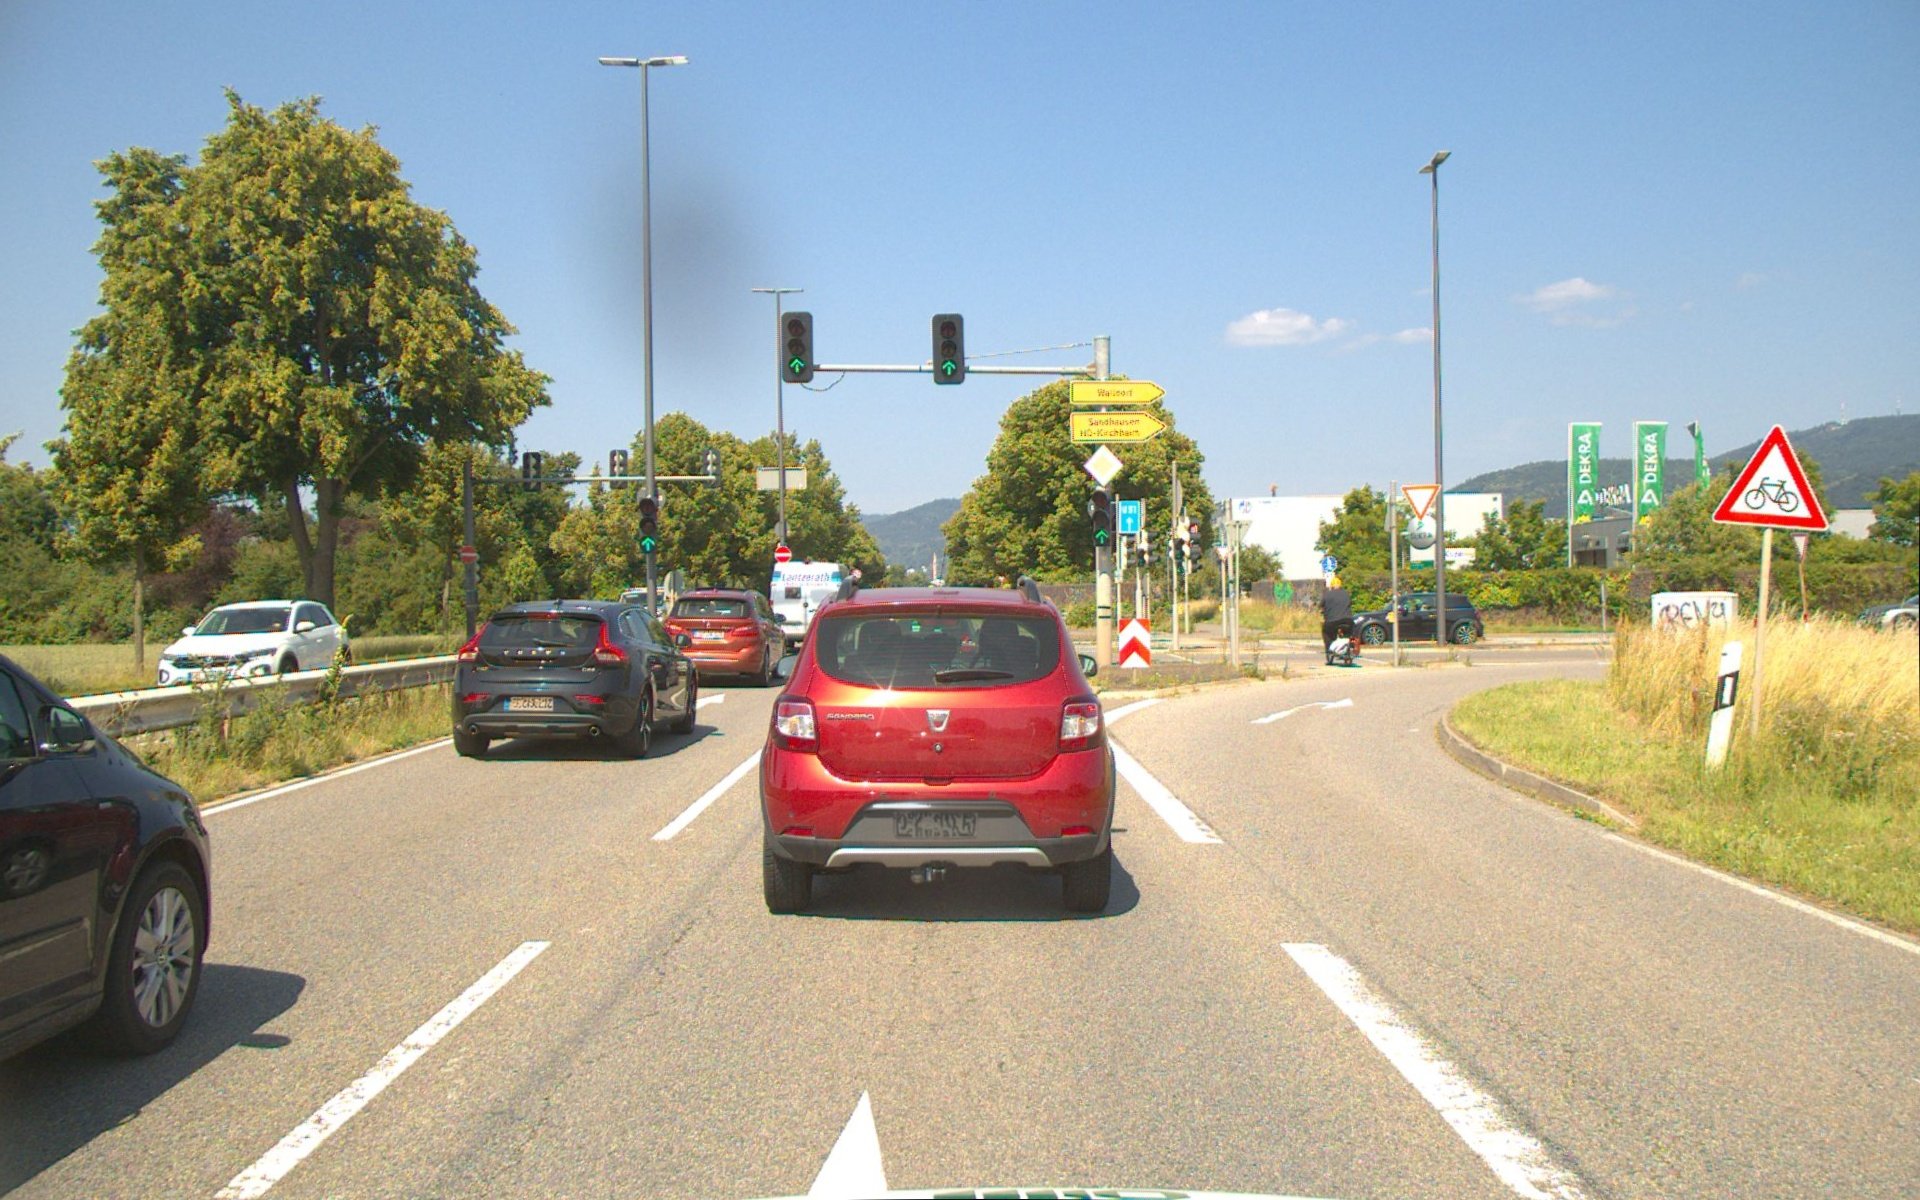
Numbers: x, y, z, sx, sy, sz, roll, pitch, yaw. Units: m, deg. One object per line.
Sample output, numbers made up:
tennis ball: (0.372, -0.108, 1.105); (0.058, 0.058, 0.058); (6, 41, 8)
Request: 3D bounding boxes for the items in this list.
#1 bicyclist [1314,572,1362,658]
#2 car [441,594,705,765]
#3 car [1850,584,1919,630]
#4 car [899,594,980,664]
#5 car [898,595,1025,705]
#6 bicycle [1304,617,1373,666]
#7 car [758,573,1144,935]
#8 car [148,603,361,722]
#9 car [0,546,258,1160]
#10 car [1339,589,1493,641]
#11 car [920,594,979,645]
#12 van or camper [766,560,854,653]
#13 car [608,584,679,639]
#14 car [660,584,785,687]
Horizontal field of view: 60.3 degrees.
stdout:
bicyclist: (8.036, 0.314, 35.181); (0.786, 1.802, 0.808); (-1, 0, -2)
car: (-3.671, 0.682, 16.363); (1.667, 1.467, 3.955); (1, 0, 0)
car: (29.522, 0.185, 49.983); (4.270, 1.350, 1.808); (-1, 0, 11)
car: (-0.419, 0.608, 37.092); (1.713, 1.483, 3.677); (0, 0, 1)
car: (0.047, 0.669, 24.250); (1.713, 1.483, 3.677); (0, 0, 1)
bicycle: (8.045, 0.867, 35.257); (0.746, 0.931, 2.779); (-1, 0, -2)
car: (-0.011, 0.680, 9.186); (1.713, 1.603, 3.677); (0, 0, 1)
car: (-10.851, 0.902, 25.744); (1.711, 1.646, 4.133); (-1, 0, -3)
car: (-3.346, 0.658, 3.931); (1.688, 1.603, 3.892); (0, 0, 0)
car: (12.483, 0.409, 45.465); (3.901, 1.350, 1.808); (-1, 0, 10)
car: (-0.273, 0.555, 50.245); (1.713, 1.483, 3.677); (0, 0, 1)
van or camper: (-3.921, 0.152, 43.932); (2.135, 2.343, 4.824); (0, 0, -3)
car: (-12.293, 0.413, 64.586); (1.953, 2.015, 5.014); (-1, 0, -2)
car: (-3.984, 0.558, 28.258); (1.689, 1.628, 3.954); (0, 0, -2)
